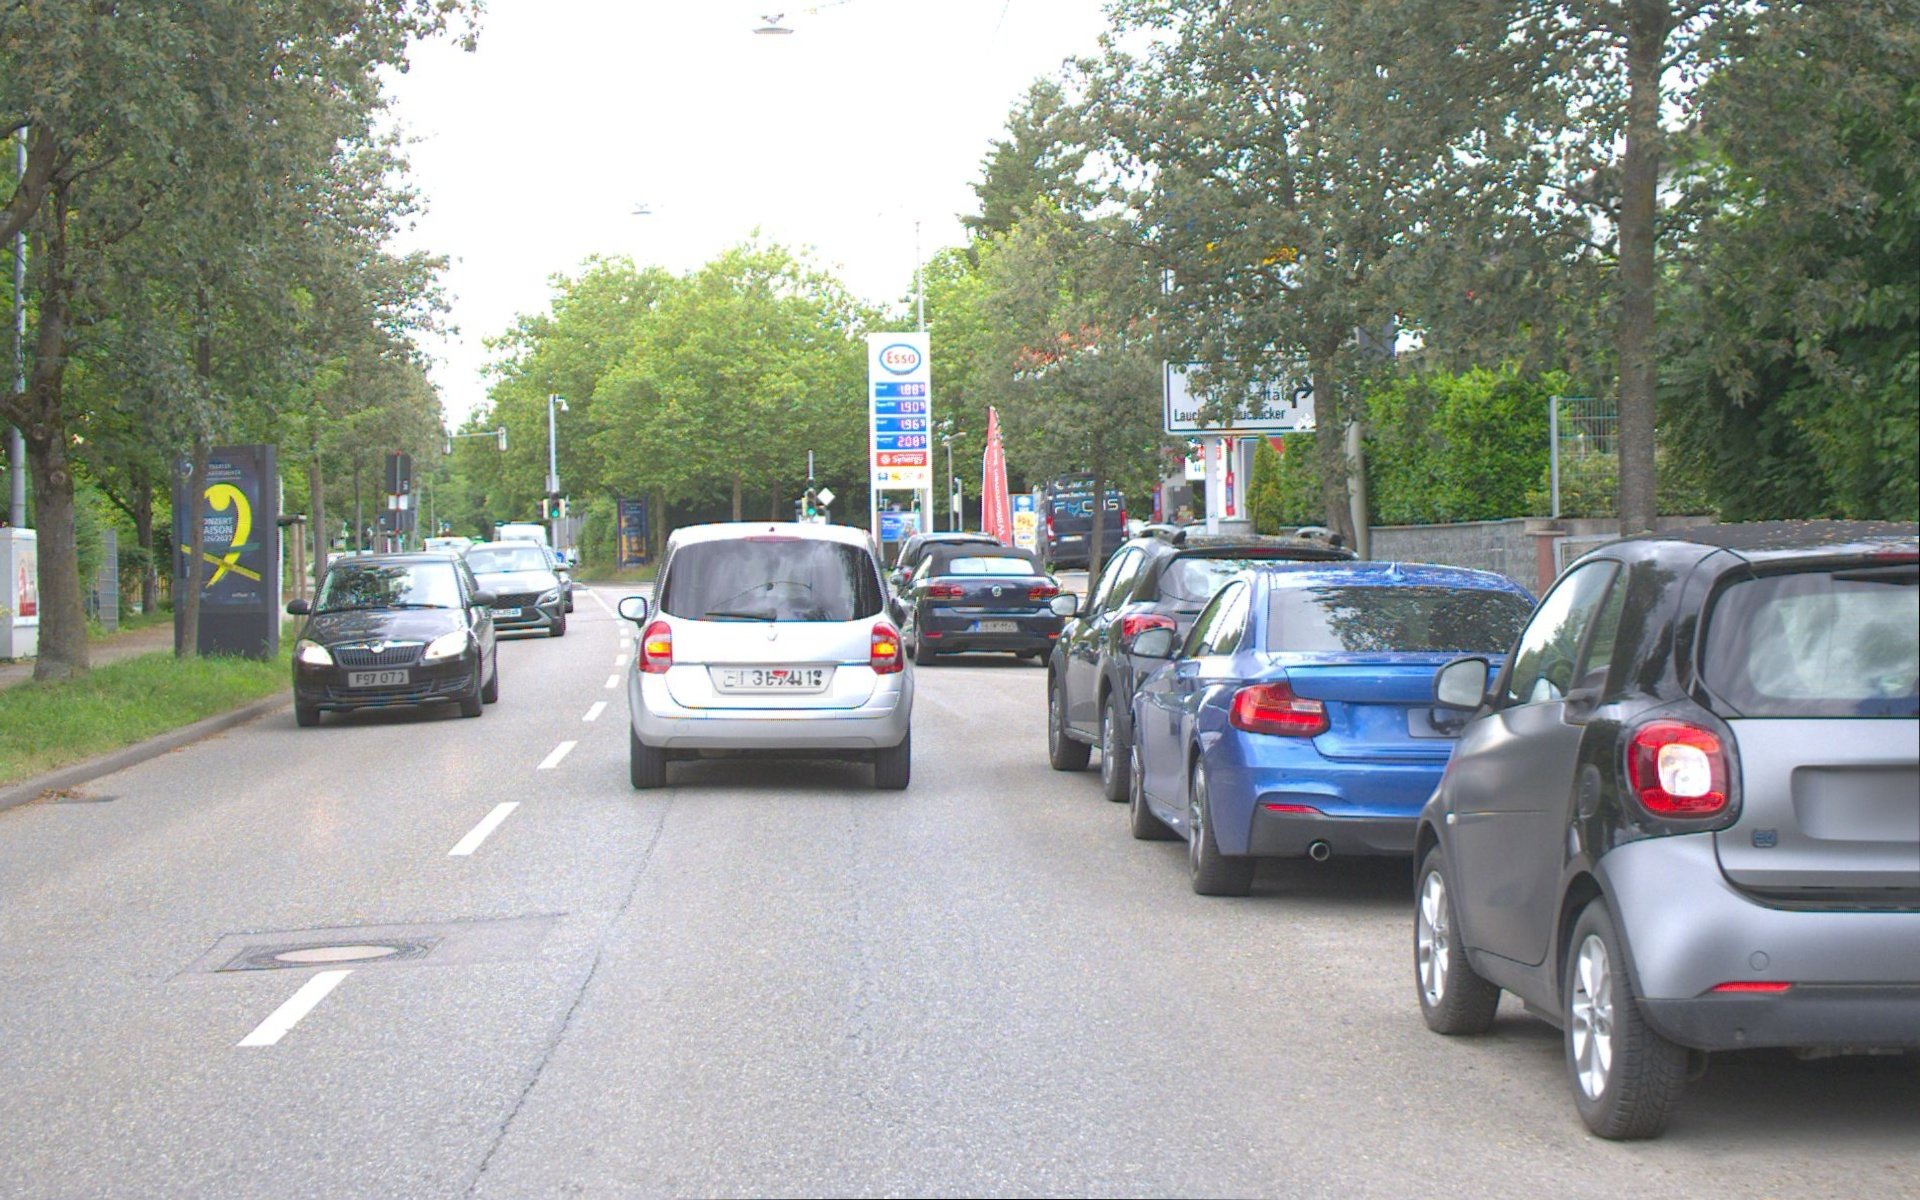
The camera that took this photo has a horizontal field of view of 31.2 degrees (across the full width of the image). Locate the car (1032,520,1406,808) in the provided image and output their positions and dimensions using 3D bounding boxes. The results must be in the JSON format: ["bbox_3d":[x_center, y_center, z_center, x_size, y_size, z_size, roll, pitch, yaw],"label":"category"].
[{"bbox_3d":[1.482,0.314,21.043,1.695,1.565,3.956,-1,1,-4],"label":"car"}]

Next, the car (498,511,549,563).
[{"bbox_3d":[-17.500,-2.534,138.002,1.740,2.007,4.001,-1,1,-3],"label":"car"}]

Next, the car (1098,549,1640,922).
[{"bbox_3d":[1.697,0.504,15.679,1.696,1.428,4.341,1,1,-3],"label":"car"}]

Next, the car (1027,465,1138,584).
[{"bbox_3d":[3.050,-1.893,86.703,2.281,2.901,5.280,0,1,-3],"label":"car"}]

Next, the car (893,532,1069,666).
[{"bbox_3d":[0.204,-0.053,41.401,1.695,1.501,3.973,-1,1,-6],"label":"car"}]

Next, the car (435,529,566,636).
[{"bbox_3d":[-7.349,-0.314,55.288,1.793,1.550,3.673,-4,2,-4],"label":"car"}]

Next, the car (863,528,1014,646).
[{"bbox_3d":[-0.330,-0.210,46.767,1.695,1.501,3.645,-1,1,-6],"label":"car"}]

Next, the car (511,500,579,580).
[{"bbox_3d":[-12.840,-1.875,106.430,1.934,2.400,4.001,-1,1,-5],"label":"car"}]

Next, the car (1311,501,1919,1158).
[{"bbox_3d":[2.183,0.538,10.215,1.695,1.552,3.956,1,1,-2],"label":"car"}]

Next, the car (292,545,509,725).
[{"bbox_3d":[-5.057,0.272,31.431,1.544,1.465,3.743,-3,1,-4],"label":"car"}]

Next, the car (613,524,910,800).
[{"bbox_3d":[-1.205,0.311,21.243,1.679,1.554,3.512,0,1,-3],"label":"car"}]
